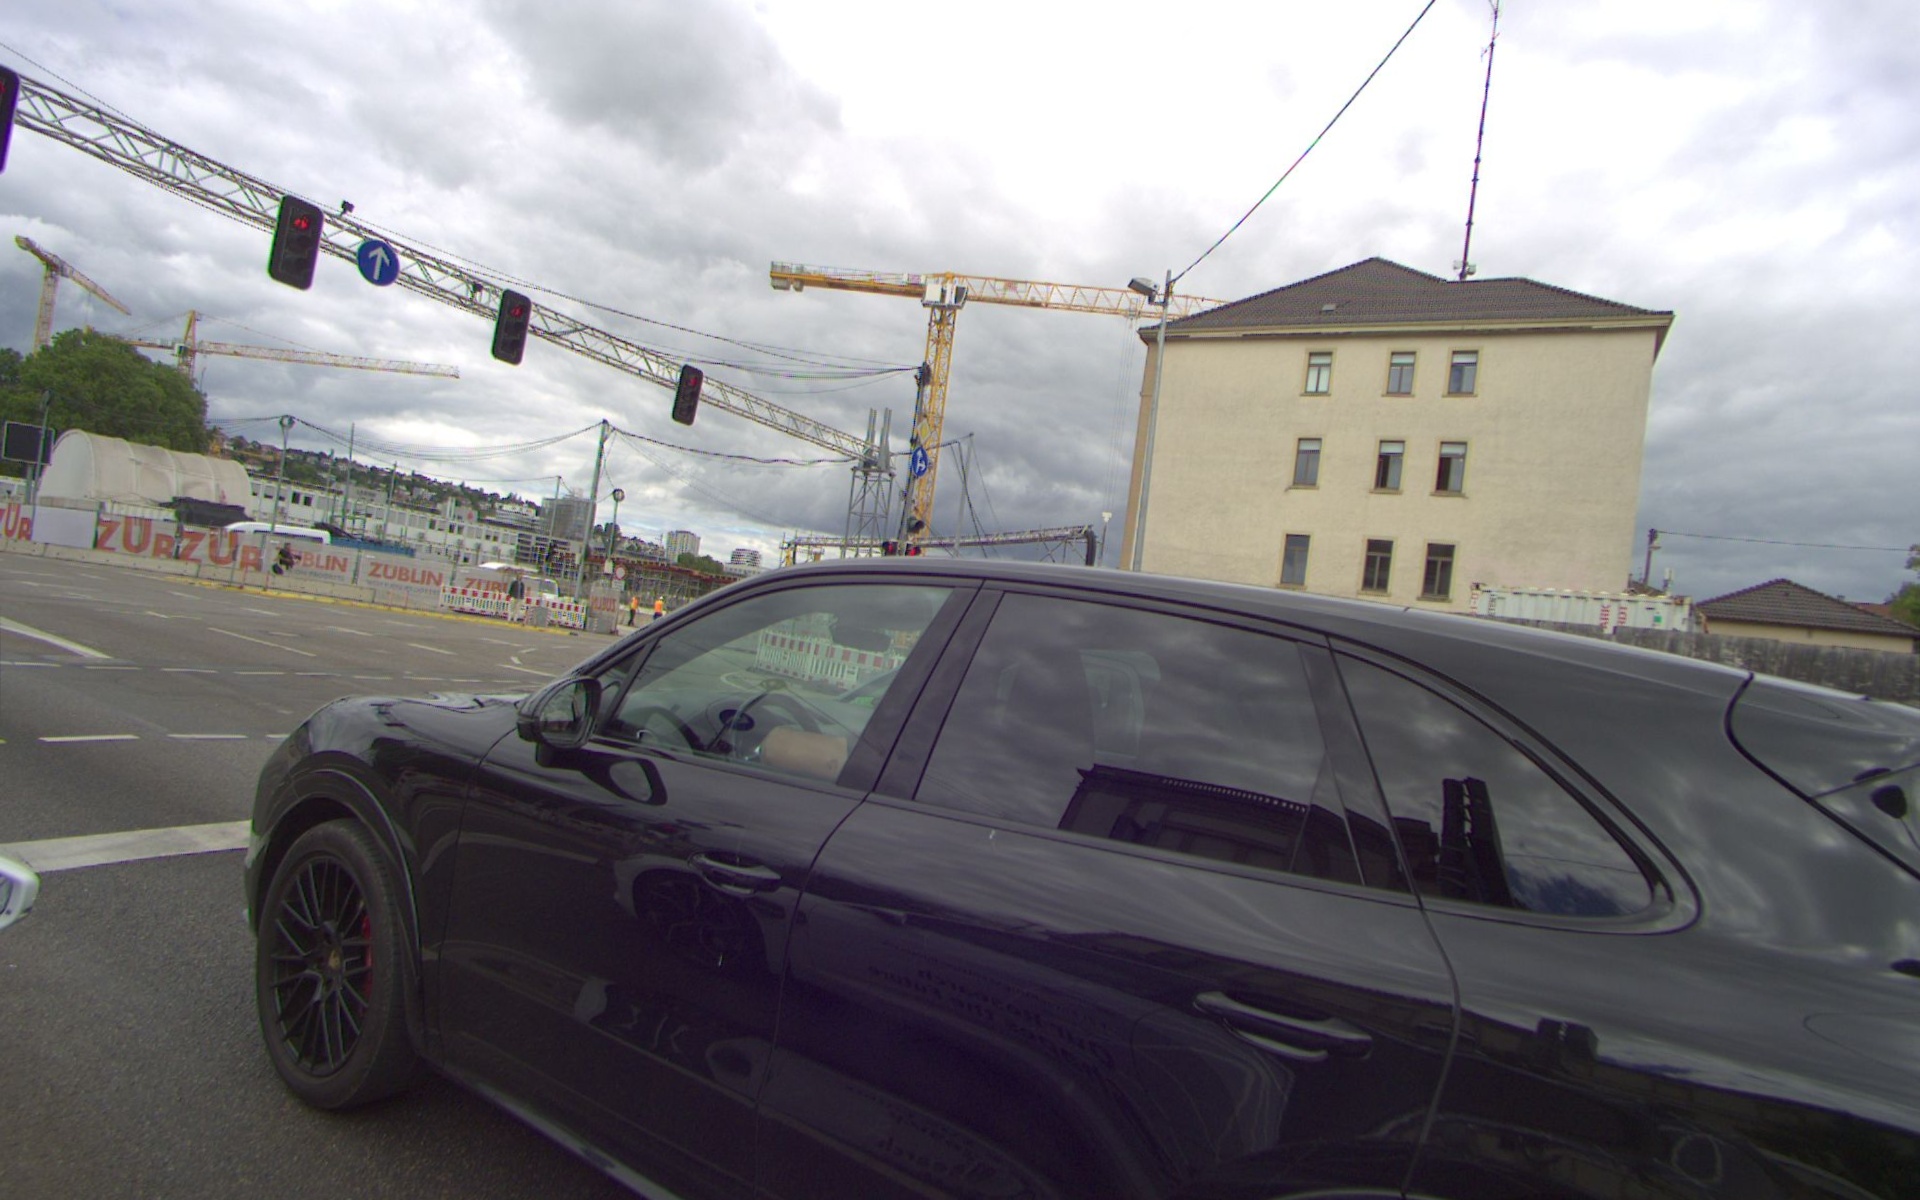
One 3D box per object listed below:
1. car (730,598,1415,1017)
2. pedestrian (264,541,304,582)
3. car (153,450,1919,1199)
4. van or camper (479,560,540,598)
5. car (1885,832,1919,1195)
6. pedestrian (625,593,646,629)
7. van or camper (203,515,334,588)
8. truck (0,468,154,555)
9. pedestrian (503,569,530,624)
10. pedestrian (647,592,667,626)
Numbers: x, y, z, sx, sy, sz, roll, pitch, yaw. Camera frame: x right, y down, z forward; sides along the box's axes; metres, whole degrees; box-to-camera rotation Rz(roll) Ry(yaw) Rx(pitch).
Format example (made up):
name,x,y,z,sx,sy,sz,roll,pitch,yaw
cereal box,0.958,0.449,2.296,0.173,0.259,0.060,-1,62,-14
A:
name,x,y,z,sx,sy,sz,roll,pitch,yaw
car,0.601,1.046,6.367,3.818,1.561,1.667,7,-2,33
pedestrian,-25.899,-1.472,38.555,0.891,1.393,0.797,8,-1,-15
car,0.045,0.718,2.691,4.559,1.705,1.959,7,-2,33
van or camper,-43.335,-1.949,96.961,1.963,2.945,5.304,7,-2,20
car,5.728,1.802,2.571,4.579,1.589,1.825,6,-2,34
pedestrian,-17.598,0.607,54.541,0.607,1.816,0.654,7,-1,21
van or camper,-29.803,-2.068,43.407,4.204,2.384,1.976,10,-3,-44
truck,-57.892,-5.786,61.925,3.875,4.086,13.089,8,-2,12
pedestrian,-17.225,-0.128,39.083,0.647,2.037,0.513,8,-1,-33
pedestrian,-16.163,0.482,53.735,0.508,1.737,0.654,7,-1,21
